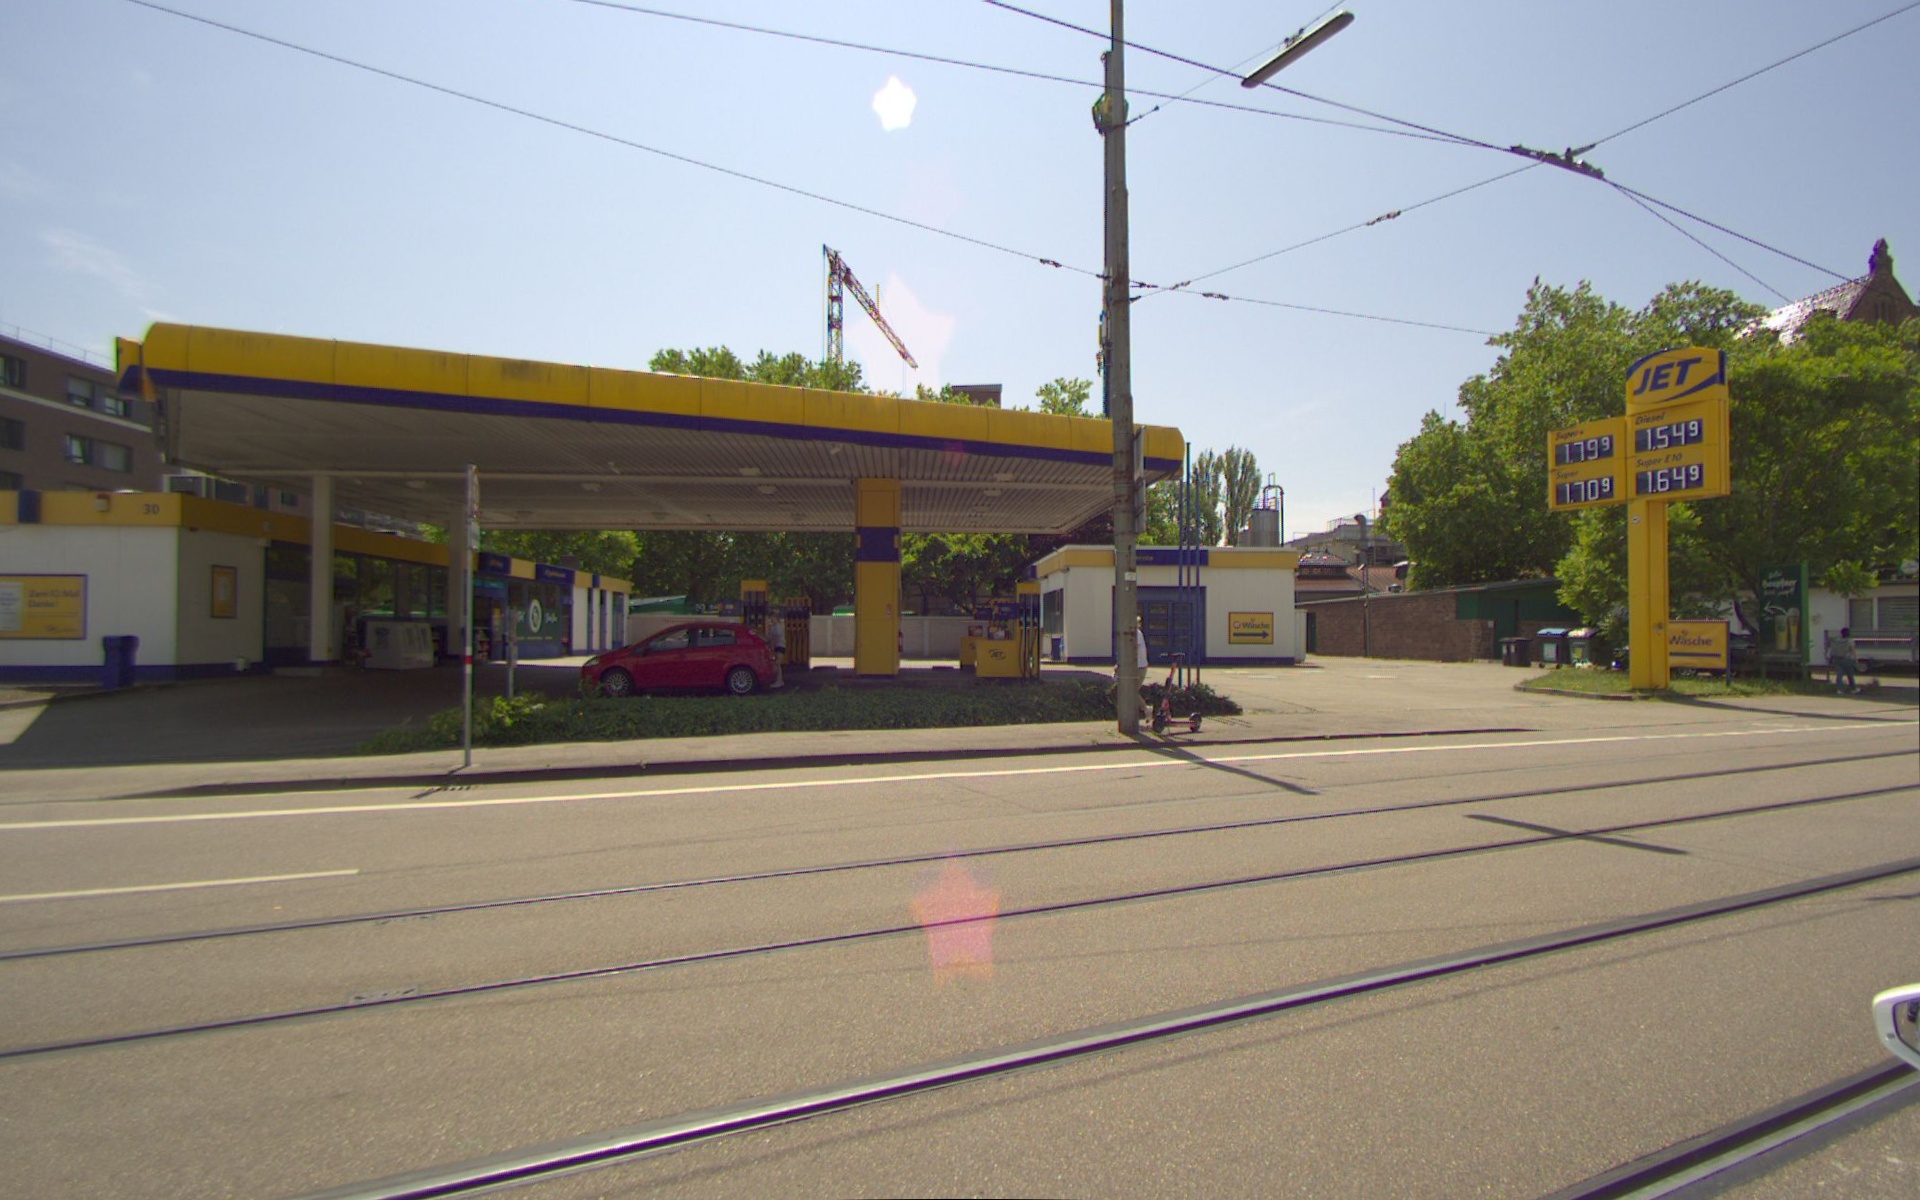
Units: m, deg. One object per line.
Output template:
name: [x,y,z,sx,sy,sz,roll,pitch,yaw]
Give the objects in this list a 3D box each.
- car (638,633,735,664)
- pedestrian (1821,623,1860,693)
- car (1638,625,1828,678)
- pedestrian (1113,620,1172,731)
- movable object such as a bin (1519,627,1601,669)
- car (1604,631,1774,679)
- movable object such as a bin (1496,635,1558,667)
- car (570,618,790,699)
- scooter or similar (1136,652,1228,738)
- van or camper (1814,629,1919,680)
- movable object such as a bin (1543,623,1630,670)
car: [-13.042,2.325,48.114,4.157,1.428,1.720,1,-2,-1]
pedestrian: [23.014,1.497,26.253,0.691,1.799,0.577,1,0,-31]
car: [24.495,1.612,32.003,4.361,1.508,1.936,1,-1,13]
pedestrian: [2.906,1.184,16.021,0.711,1.713,0.624,1,-2,-22]
movable object such as a bin: [21.738,1.737,36.441,2.059,1.451,1.525,1,0,-3]
car: [25.207,1.879,34.890,4.361,1.508,1.936,1,-1,12]
movable object such as a bin: [21.620,1.928,38.341,1.534,1.153,1.408,1,0,-3]
car: [-5.716,1.180,20.960,4.118,1.525,1.830,0,0,-4]
scooter or similar: [3.354,1.401,15.127,1.360,1.216,0.516,1,-1,-30]
van or camper: [32.758,1.883,35.323,1.847,1.651,3.770,0,0,-27]
movable object such as a bin: [21.739,1.594,34.892,2.059,1.529,1.525,1,0,-3]
